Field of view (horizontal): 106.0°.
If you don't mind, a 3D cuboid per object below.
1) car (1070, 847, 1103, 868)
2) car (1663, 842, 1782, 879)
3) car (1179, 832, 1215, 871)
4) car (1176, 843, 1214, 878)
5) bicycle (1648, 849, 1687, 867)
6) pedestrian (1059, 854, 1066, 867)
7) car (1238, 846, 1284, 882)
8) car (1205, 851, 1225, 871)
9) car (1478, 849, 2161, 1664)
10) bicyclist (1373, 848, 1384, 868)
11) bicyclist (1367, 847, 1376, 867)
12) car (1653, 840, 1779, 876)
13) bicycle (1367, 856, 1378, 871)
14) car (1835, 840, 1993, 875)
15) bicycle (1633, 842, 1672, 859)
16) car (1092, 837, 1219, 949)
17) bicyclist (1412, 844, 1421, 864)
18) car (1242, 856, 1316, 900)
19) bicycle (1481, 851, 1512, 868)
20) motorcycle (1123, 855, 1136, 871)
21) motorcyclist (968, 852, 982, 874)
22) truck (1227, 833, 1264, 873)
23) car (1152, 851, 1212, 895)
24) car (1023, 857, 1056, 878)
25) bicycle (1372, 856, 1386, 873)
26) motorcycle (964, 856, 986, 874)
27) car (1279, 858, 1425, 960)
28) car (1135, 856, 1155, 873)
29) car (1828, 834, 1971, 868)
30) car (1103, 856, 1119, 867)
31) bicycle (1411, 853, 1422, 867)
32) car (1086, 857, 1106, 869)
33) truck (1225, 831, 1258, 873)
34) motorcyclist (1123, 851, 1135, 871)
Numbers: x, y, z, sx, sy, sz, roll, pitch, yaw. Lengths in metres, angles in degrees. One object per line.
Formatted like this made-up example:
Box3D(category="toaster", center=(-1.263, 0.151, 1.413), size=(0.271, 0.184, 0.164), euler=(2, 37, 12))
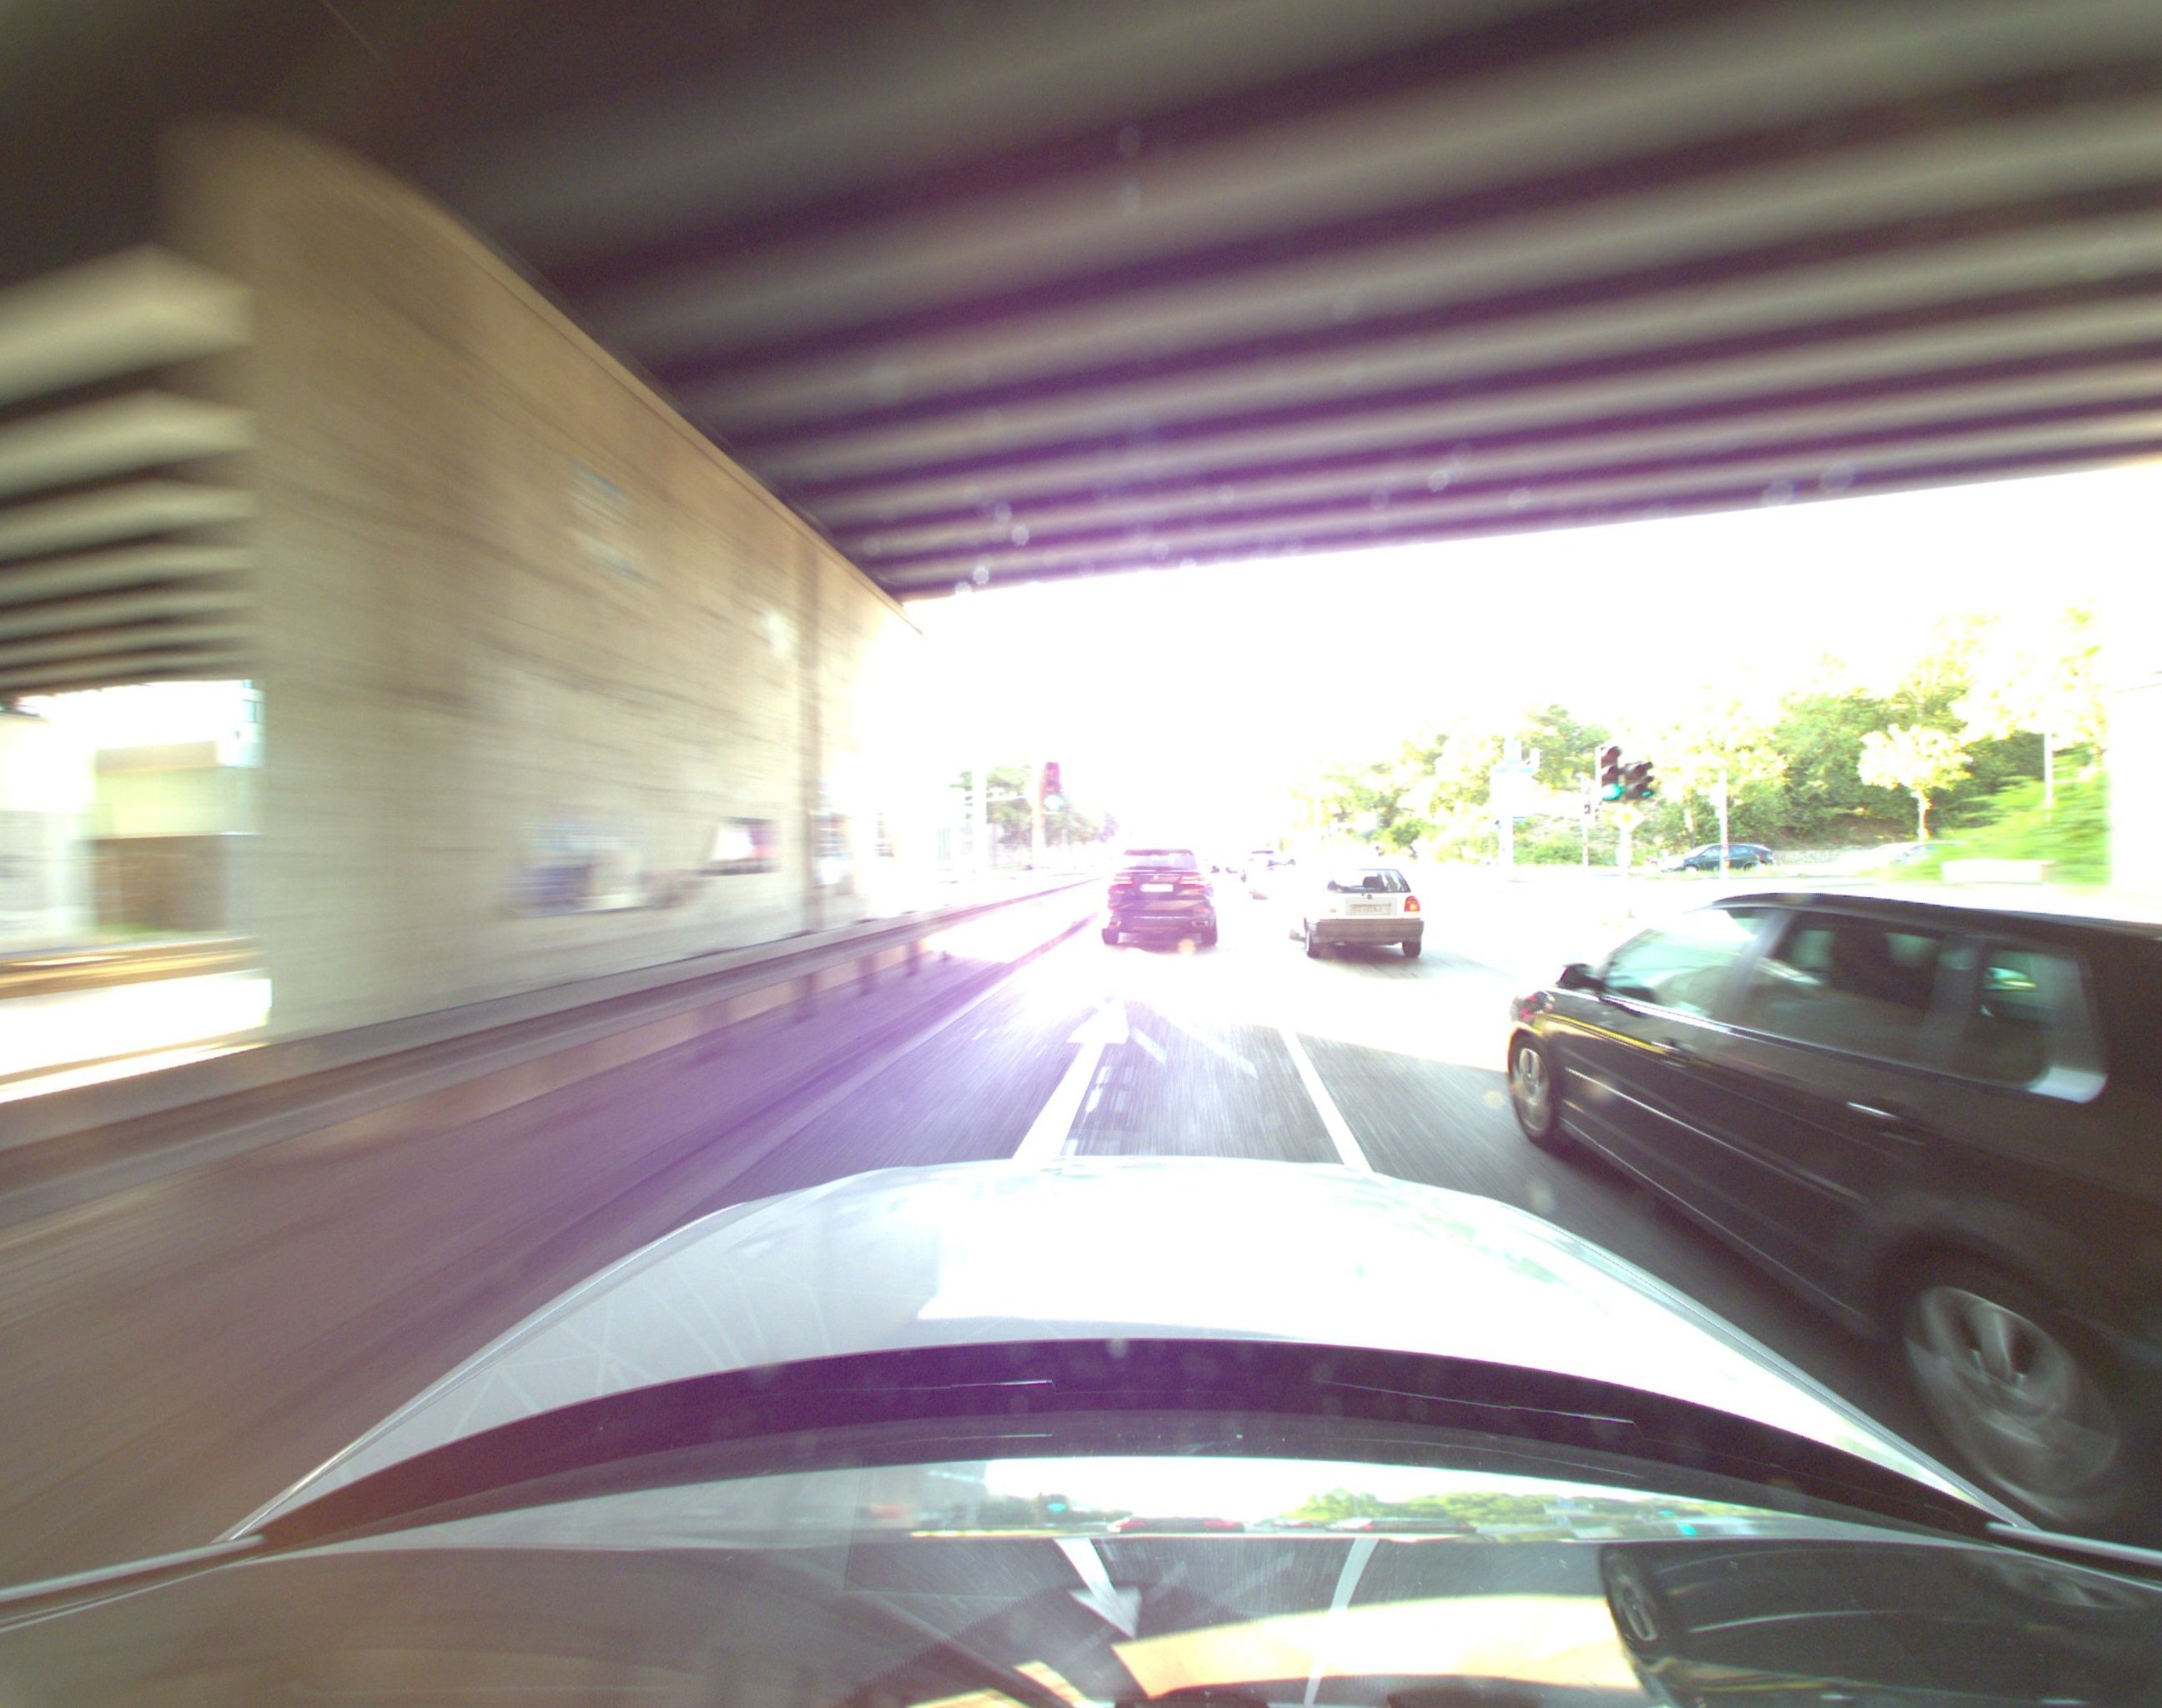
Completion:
Box3D(category="car", center=(0.444, 0.300, 61.025), size=(1.982, 1.475, 4.089), euler=(1, -1, 8))
Box3D(category="car", center=(29.969, 0.302, 38.180), size=(3.958, 1.694, 1.870), euler=(0, -1, 14))
Box3D(category="car", center=(7.981, -0.129, 56.385), size=(2.127, 2.576, 5.092), euler=(0, -1, 4))
Box3D(category="car", center=(5.829, 0.323, 41.417), size=(1.605, 1.679, 3.695), euler=(0, -1, 12))
Box3D(category="bicycle", center=(33.987, 0.231, 47.207), size=(1.776, 0.980, 0.643), euler=(0, 1, 23))
Box3D(category="pedestrian", center=(-3.080, 1.072, 133.114), size=(1.012, 2.014, 0.964), euler=(0, -1, 9))
Box3D(category="car", center=(8.218, 0.443, 37.474), size=(1.786, 1.559, 4.010), euler=(0, -1, 9))
Box3D(category="car", center=(11.521, 0.629, 70.389), size=(1.607, 1.679, 3.691), euler=(0, -1, 8))
Box3D(category="car", center=(2.961, 0.722, 3.122), size=(1.607, 1.410, 3.692), euler=(0, -1, 9))
Box3D(category="bicyclist", center=(20.430, 0.268, 55.971), size=(0.540, 1.316, 0.837), euler=(0, -1, 9))
Box3D(category="bicyclist", center=(18.483, 0.194, 51.775), size=(0.425, 1.233, 0.461), euler=(-1, -1, 9))
Box3D(category="car", center=(28.271, 0.163, 36.403), size=(3.958, 1.530, 2.008), euler=(0, -1, 14))
Box3D(category="bicycle", center=(18.470, 0.595, 51.652), size=(0.435, 0.914, 1.029), euler=(-3, -1, 9))
Box3D(category="car", center=(35.492, 0.141, 34.841), size=(4.296, 1.407, 2.049), euler=(0, -1, 14))
Box3D(category="bicycle", center=(34.273, -0.195, 48.857), size=(1.776, 0.980, 0.642), euler=(0, -1, 23))
Box3D(category="car", center=(1.509, 0.630, 15.044), size=(1.982, 1.734, 4.543), euler=(0, -1, 9))
Box3D(category="bicyclist", center=(22.084, -0.025, 53.647), size=(0.425, 1.309, 0.461), euler=(0, -1, 9))
Box3D(category="car", center=(6.259, 0.725, 26.108), size=(1.982, 1.295, 4.010), euler=(0, -1, 9))
Box3D(category="bicycle", center=(25.582, 0.327, 50.136), size=(1.647, 0.991, 0.581), euler=(-2, 2, 25))
Box3D(category="motorcycle", center=(3.489, 0.607, 59.045), size=(0.836, 1.076, 2.402), euler=(-3, 0, 2))
Box3D(category="motorcyclist", center=(-6.808, 0.584, 52.289), size=(0.677, 1.424, 0.870), euler=(0, -1, 11))
Box3D(category="truck", center=(9.894, -0.039, 49.110), size=(1.984, 2.315, 4.010), euler=(0, -1, 9))
Box3D(category="car", center=(3.507, 0.627, 27.815), size=(1.605, 1.410, 3.696), euler=(0, -1, 14))
Box3D(category="car", center=(-3.612, 1.199, 71.758), size=(1.983, 1.697, 4.690), euler=(-4, -1, 8))
Box3D(category="bicycle", center=(20.434, 0.726, 55.890), size=(0.561, 1.112, 1.625), euler=(0, -1, 9))
Box3D(category="motorcycle", center=(-6.802, 0.704, 52.332), size=(0.676, 1.156, 2.246), euler=(0, -1, 12))
Box3D(category="car", center=(4.297, 0.792, 13.467), size=(1.570, 1.413, 4.071), euler=(0, -1, 8))
Box3D(category="car", center=(6.119, 1.006, 77.526), size=(1.694, 1.452, 3.863), euler=(-5, -1, 5))
Box3D(category="car", center=(38.113, -0.131, 38.062), size=(4.296, 1.568, 2.049), euler=(0, -1, 14))
Box3D(category="car", center=(4.701, 1.176, 127.956), size=(1.983, 1.592, 4.724), euler=(-5, -1, 7))
Box3D(category="bicycle", center=(22.074, 0.396, 53.555), size=(0.435, 0.914, 1.029), euler=(0, -1, 9))
Box3D(category="car", center=(2.009, 1.201, 107.543), size=(1.983, 1.400, 4.358), euler=(-5, -1, 7))
Box3D(category="truck", center=(10.564, -0.102, 53.826), size=(1.984, 2.669, 4.010), euler=(0, -1, 9))
Box3D(category="motorcyclist", center=(3.486, 0.485, 59.095), size=(0.794, 1.349, 1.275), euler=(-3, 1, 2))
